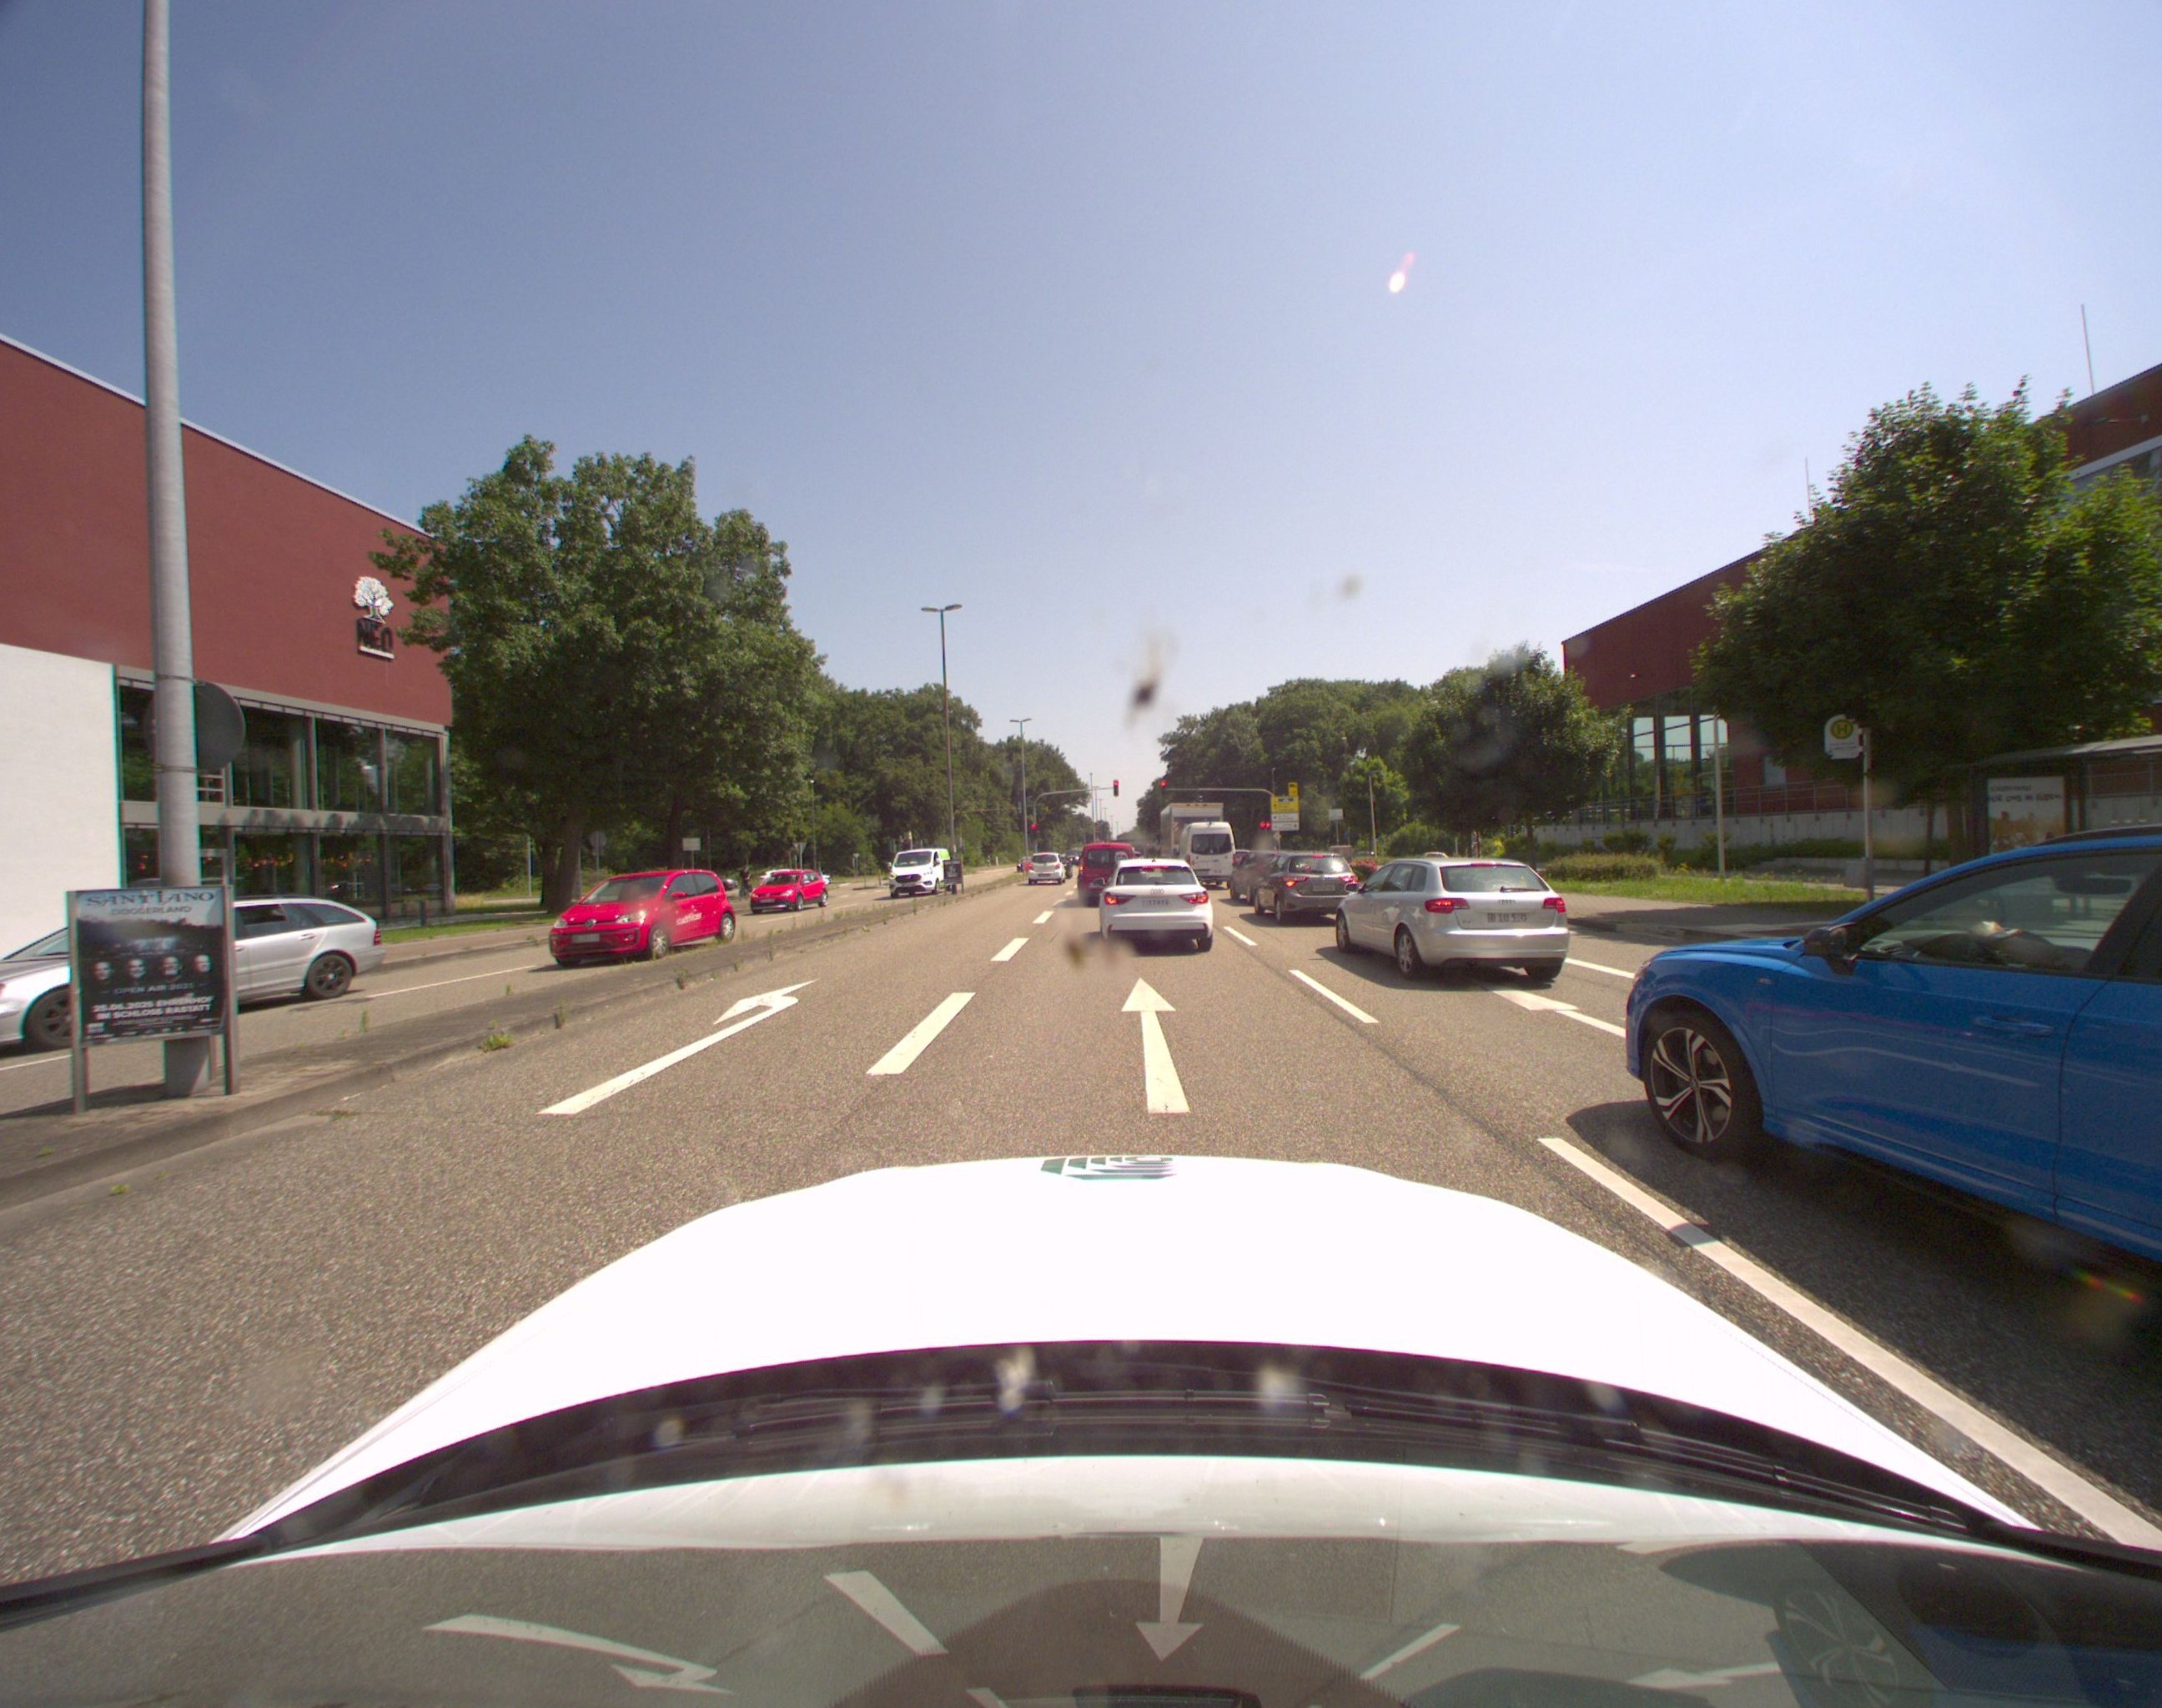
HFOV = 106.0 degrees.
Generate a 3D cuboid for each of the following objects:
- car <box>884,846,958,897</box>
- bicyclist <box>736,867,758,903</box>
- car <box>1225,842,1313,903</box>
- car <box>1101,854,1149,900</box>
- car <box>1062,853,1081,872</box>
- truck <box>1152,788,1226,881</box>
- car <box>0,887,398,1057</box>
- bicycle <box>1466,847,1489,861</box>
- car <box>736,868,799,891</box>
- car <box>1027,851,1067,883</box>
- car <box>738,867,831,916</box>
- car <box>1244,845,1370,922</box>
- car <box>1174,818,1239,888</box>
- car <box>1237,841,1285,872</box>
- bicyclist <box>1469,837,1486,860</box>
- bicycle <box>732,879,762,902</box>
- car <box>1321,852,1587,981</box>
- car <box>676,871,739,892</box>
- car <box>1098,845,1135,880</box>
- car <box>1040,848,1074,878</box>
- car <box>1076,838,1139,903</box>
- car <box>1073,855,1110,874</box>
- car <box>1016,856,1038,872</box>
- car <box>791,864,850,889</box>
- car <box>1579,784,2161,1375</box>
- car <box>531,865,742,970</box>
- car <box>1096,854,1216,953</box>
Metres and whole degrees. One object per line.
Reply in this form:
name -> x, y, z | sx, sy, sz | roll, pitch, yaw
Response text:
car -> -6.852, 0.694, 35.485 | 1.986, 1.945, 4.910 | -4, 0, 1
bicyclist -> -17.050, 1.558, 41.622 | 0.647, 1.770, 0.928 | -2, 0, 2
car -> 5.427, 0.497, 24.021 | 1.706, 1.593, 4.093 | -1, 0, 1
car -> 1.655, 0.825, 31.722 | 1.706, 1.631, 4.093 | -1, 0, 1
car -> -1.091, 0.979, 91.653 | 1.988, 2.013, 3.997 | -3, 0, -2
truck -> 5.720, -0.964, 45.118 | 3.076, 4.434, 11.588 | -1, 0, 3
car -> -11.024, 1.274, 9.789 | 1.771, 1.404, 4.361 | -5, 0, 1
bicycle -> 25.102, 0.000, 51.537 | 1.837, 0.766, 0.594 | -3, 0, -40
car -> -24.863, 2.014, 64.688 | 4.364, 1.681, 1.807 | 0, -1, -6
car -> -1.640, 0.609, 40.186 | 1.706, 1.492, 4.093 | -1, 0, 1
car -> -10.655, 1.297, 29.560 | 1.699, 1.452, 3.894 | -5, 0, 2
car -> 4.848, 0.572, 18.025 | 1.706, 1.478, 4.093 | 1, 0, 1
car -> 5.120, -0.052, 33.854 | 2.023, 2.644, 4.847 | -1, 0, 2
car -> 9.621, 0.130, 43.812 | 1.706, 1.546, 4.093 | -1, 0, 1
bicyclist -> 25.137, -0.350, 51.586 | 0.833, 1.439, 0.592 | -2, 0, -38
bicycle -> -17.034, 1.858, 41.601 | 0.652, 1.051, 1.886 | -2, 0, 3
car -> 4.581, 0.660, 10.733 | 1.706, 1.362, 4.093 | 0, 0, 1
car -> -31.174, 2.284, 68.070 | 4.369, 1.681, 1.805 | 0, -1, -9
car -> 1.691, 0.389, 39.874 | 1.706, 1.631, 4.093 | -1, 0, 1
car -> -1.411, 0.507, 48.750 | 1.768, 1.641, 4.038 | -1, 0, 1
car -> 0.780, 0.440, 24.486 | 1.706, 1.748, 4.093 | -1, 0, 1
car -> 0.971, 1.049, 78.342 | 1.884, 1.689, 3.963 | -3, 0, -28
car -> -5.189, 0.965, 78.250 | 1.673, 1.339, 4.001 | -5, 0, 1
car -> -22.132, 1.897, 69.277 | 4.365, 1.681, 1.807 | -6, 0, -6
car -> 3.829, 0.584, 2.639 | 1.830, 1.596, 4.402 | -2, 0, 2
car -> -7.555, 0.995, 14.276 | 1.575, 1.441, 3.609 | -4, 0, 1
car -> 1.136, 0.723, 13.888 | 1.706, 1.386, 4.093 | -1, 0, 1
